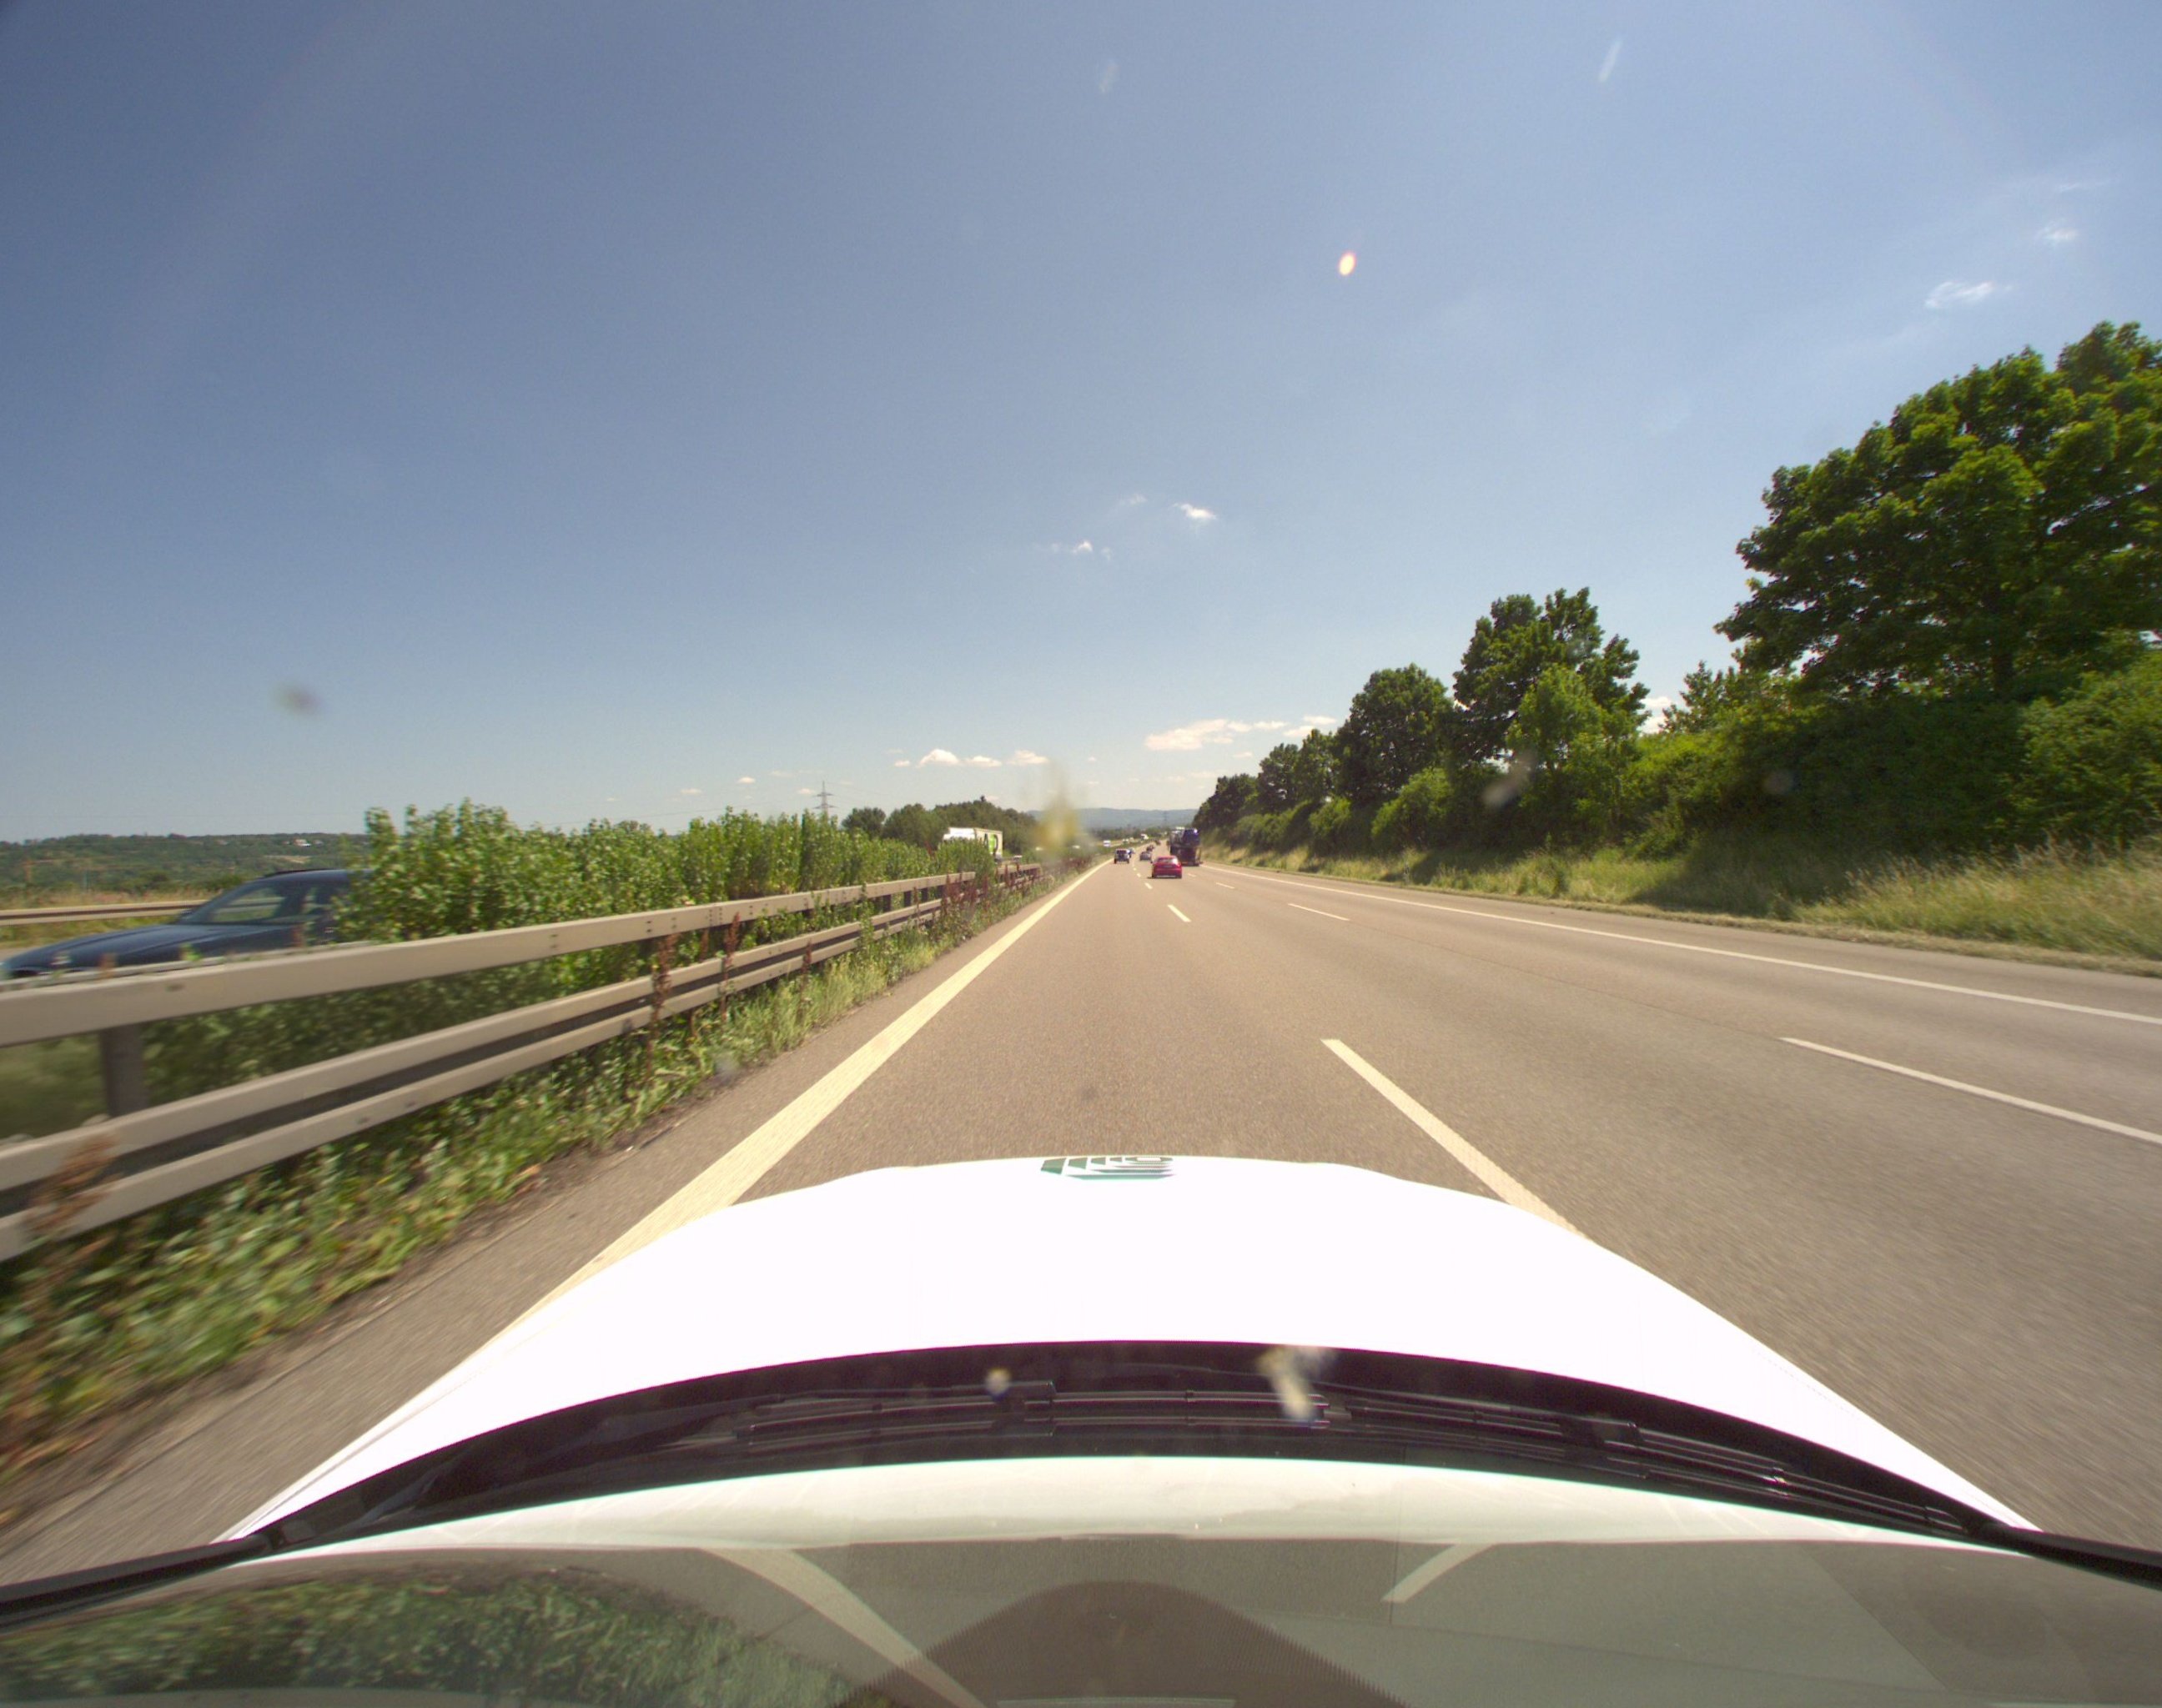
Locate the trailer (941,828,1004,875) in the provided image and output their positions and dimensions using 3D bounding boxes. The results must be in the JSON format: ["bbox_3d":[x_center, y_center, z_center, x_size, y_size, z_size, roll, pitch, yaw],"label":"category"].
[{"bbox_3d":[-10.104,-0.280,77.725,3.179,4.076,14.057,0,1,4],"label":"trailer"}]

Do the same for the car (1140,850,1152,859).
[{"bbox_3d":[9.848,0.015,123.491,1.447,1.267,3.539,0,1,1],"label":"car"}]

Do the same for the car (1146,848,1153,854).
[{"bbox_3d":[18.925,-0.879,224.656,1.626,1.704,3.409,0,1,8],"label":"car"}]

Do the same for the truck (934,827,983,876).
[{"bbox_3d":[-10.586,-0.264,71.047,3.162,4.109,5.232,0,0,4],"label":"truck"}]

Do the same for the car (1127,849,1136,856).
[{"bbox_3d":[9.445,-0.284,151.813,1.448,1.267,3.343,0,1,6],"label":"car"}]

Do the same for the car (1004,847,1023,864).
[{"bbox_3d":[-8.269,0.217,99.961,1.832,2.013,4.002,0,1,2],"label":"car"}]

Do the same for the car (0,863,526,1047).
[{"bbox_3d":[-8.417,0.891,8.957,1.775,1.508,4.002,-1,0,2],"label":"car"}]

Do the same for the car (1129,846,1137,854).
[{"bbox_3d":[12.791,-0.925,199.248,1.688,2.013,3.831,0,1,8],"label":"car"}]

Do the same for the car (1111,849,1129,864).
[{"bbox_3d":[5.051,0.256,105.578,2.077,1.829,4.752,0,1,-1],"label":"car"}]

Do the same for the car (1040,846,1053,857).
[{"bbox_3d":[-5.576,-0.404,131.823,1.622,1.828,3.774,0,1,4],"label":"car"}]

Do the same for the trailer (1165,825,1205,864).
[{"bbox_3d":[11.704,-1.092,92.757,2.845,3.993,15.400,0,1,1],"label":"trailer"}]

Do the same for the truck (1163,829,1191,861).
[{"bbox_3d":[11.809,-1.099,100.392,2.745,3.852,6.644,0,1,0],"label":"truck"}]

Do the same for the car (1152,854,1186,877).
[{"bbox_3d":[5.463,0.692,51.206,1.681,1.379,3.948,0,1,-1],"label":"car"}]
